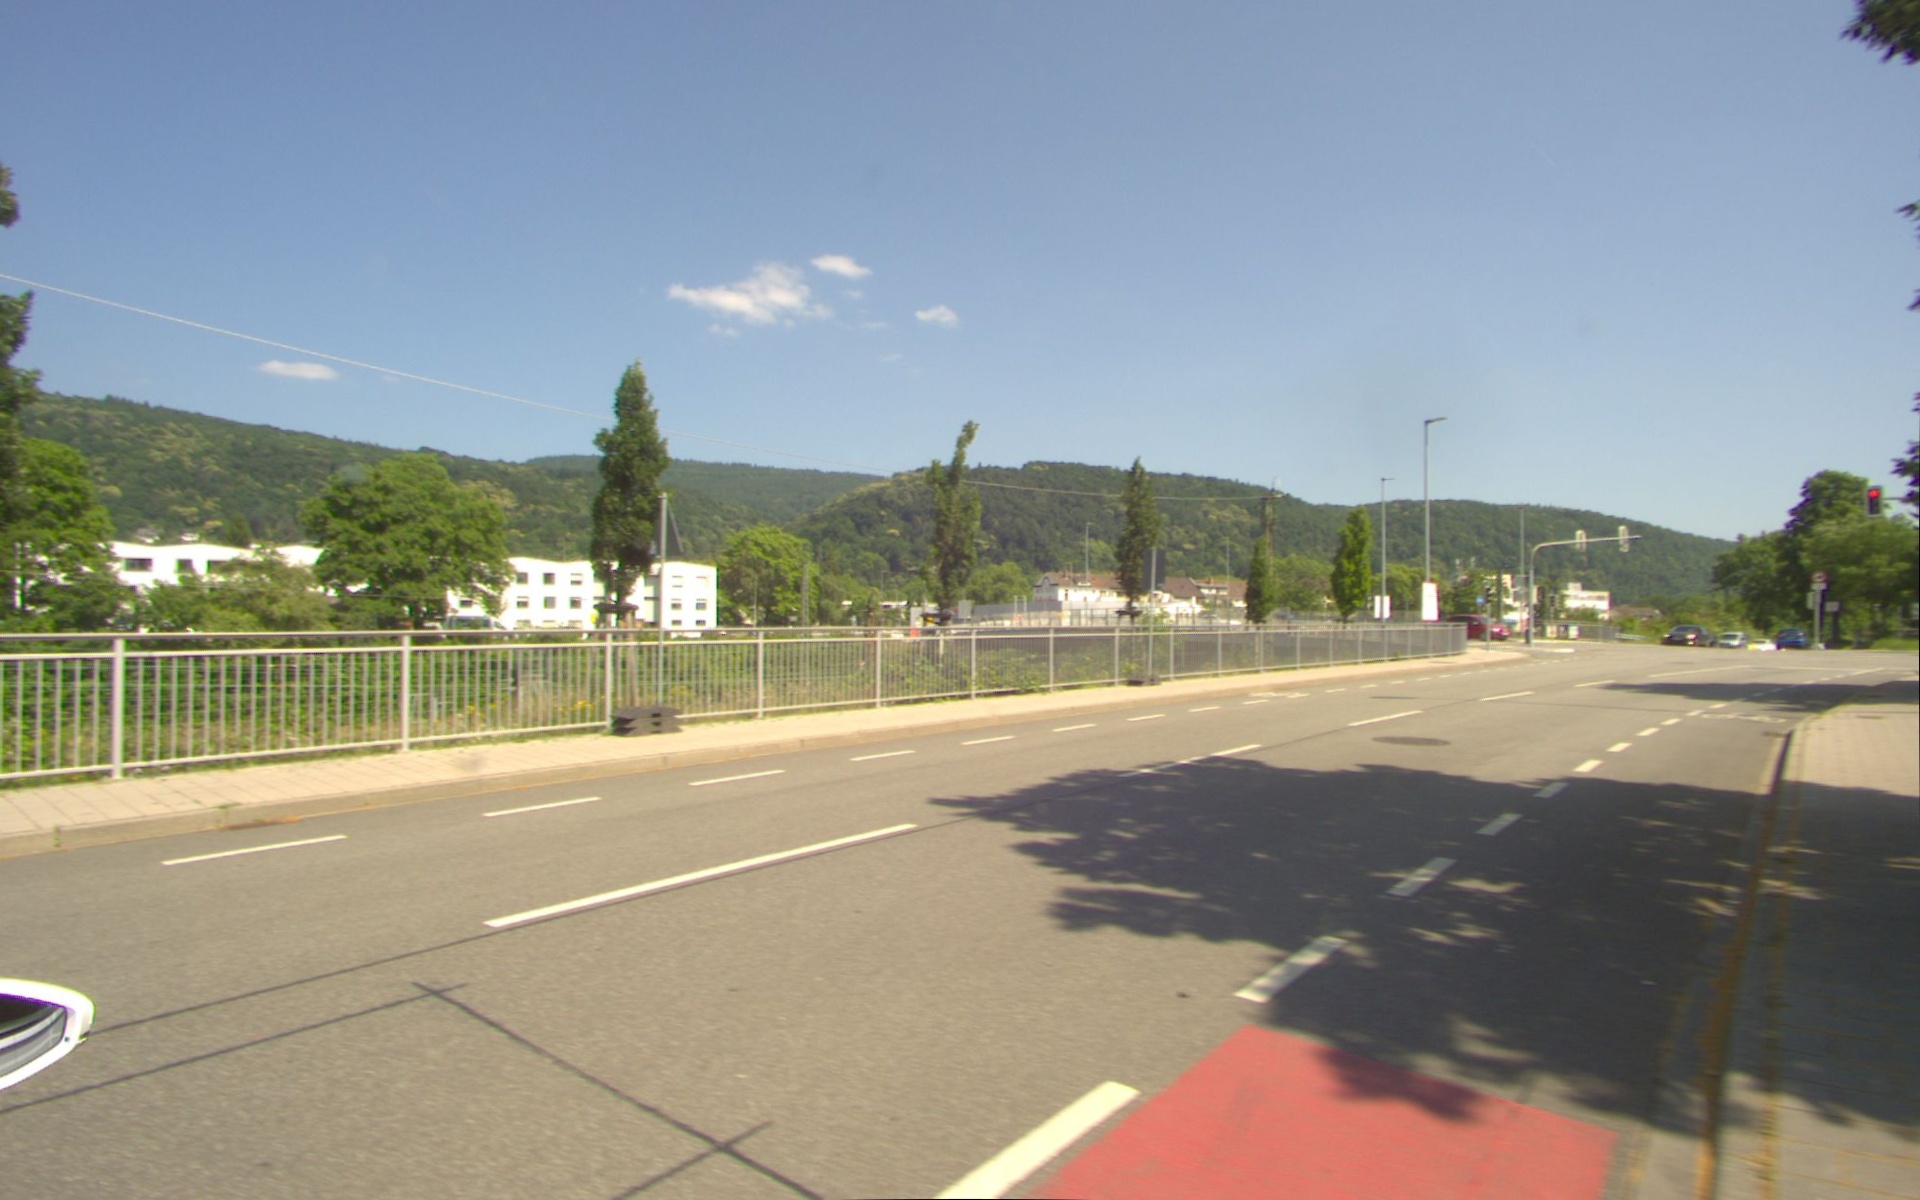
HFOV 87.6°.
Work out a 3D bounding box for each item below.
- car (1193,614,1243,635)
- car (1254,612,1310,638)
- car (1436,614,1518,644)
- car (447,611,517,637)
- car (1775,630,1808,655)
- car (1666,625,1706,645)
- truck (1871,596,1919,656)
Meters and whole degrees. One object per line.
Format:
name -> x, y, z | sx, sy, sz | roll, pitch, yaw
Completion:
car -> 22.007, 2.060, 85.607 | 1.800, 1.674, 4.757 | -3, 0, -20
car -> 25.032, 1.901, 77.958 | 1.800, 1.873, 4.359 | -3, 0, -21
car -> 32.166, 1.773, 62.426 | 1.802, 1.701, 4.355 | -3, 0, -25
car -> -44.482, 2.198, 93.261 | 5.458, 2.127, 2.120 | -1, -5, -41
car -> 56.522, 2.870, 68.091 | 1.590, 1.555, 3.658 | 0, -1, 37
car -> 47.923, 2.268, 66.047 | 3.648, 1.271, 1.595 | 1, -1, -45
truck -> 40.264, 1.046, 39.256 | 2.347, 2.405, 6.367 | 1, -1, -24
